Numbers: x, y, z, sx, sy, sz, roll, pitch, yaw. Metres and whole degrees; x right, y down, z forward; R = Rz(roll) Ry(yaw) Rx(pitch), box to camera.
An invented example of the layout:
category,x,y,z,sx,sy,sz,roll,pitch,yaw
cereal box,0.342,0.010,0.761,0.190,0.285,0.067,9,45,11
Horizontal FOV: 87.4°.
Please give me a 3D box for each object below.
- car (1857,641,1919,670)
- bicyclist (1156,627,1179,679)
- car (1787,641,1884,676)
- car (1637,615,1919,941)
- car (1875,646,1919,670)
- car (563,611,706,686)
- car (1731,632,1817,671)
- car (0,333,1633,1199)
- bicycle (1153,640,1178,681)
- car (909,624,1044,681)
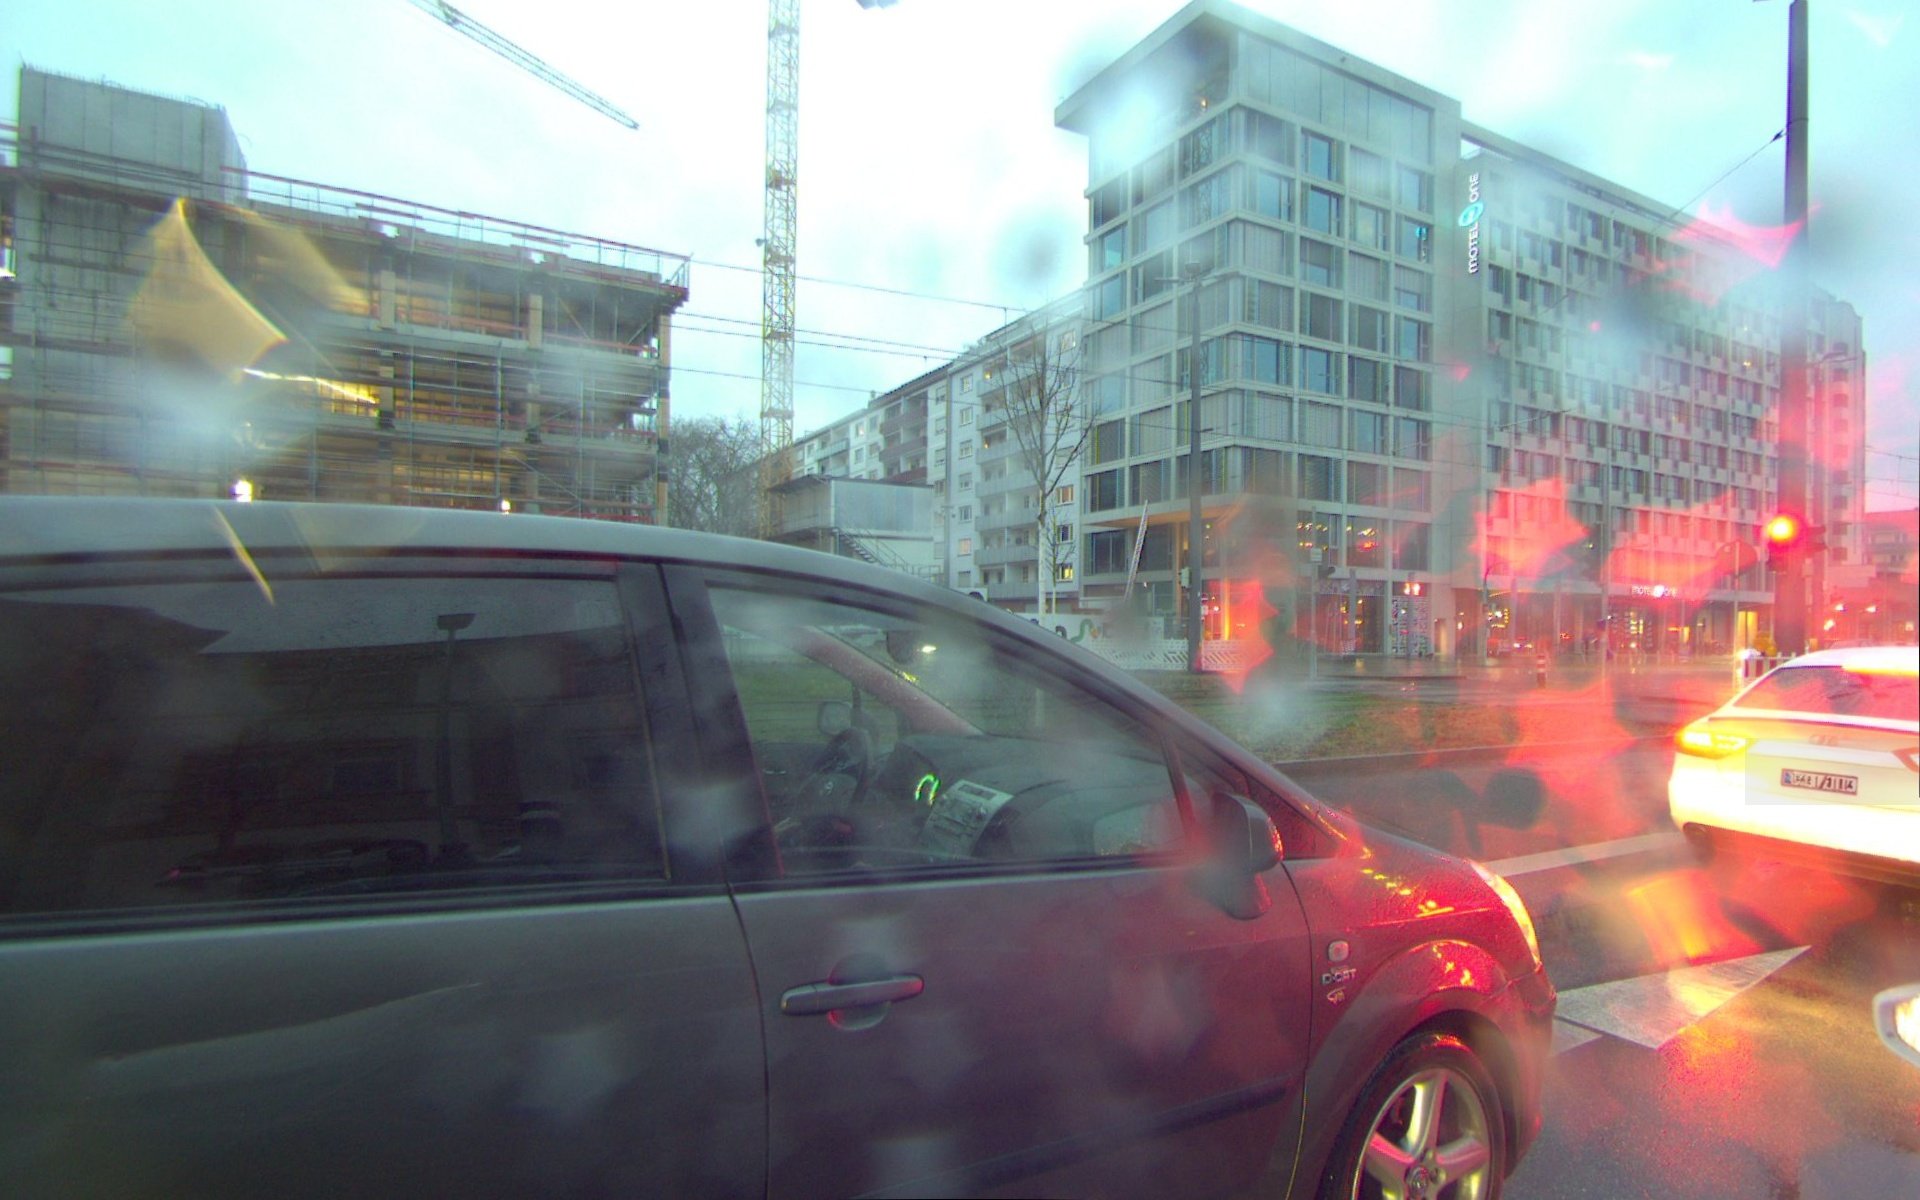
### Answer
category,x,y,z,sx,sy,sz,roll,pitch,yaw
car,52.431,3.108,56.284,5.041,1.481,1.982,2,0,-33
bicyclist,11.671,2.961,56.558,1.169,2.865,1.353,2,0,9
car,41.944,2.788,48.108,5.035,1.481,1.984,2,0,-30
car,6.089,0.901,6.090,4.205,1.489,1.750,2,0,-32
car,65.311,3.963,69.274,5.039,1.481,1.982,2,0,-32
car,-9.975,1.499,31.099,4.015,2.151,1.953,2,0,-15
car,41.875,2.639,51.640,4.543,1.813,1.873,2,0,-29
car,-0.493,0.593,2.144,3.956,1.615,1.750,2,0,-32
bicycle,11.537,3.380,56.535,1.169,2.040,4.002,2,0,9
car,0.514,1.721,33.191,4.019,1.709,1.951,2,0,-18
